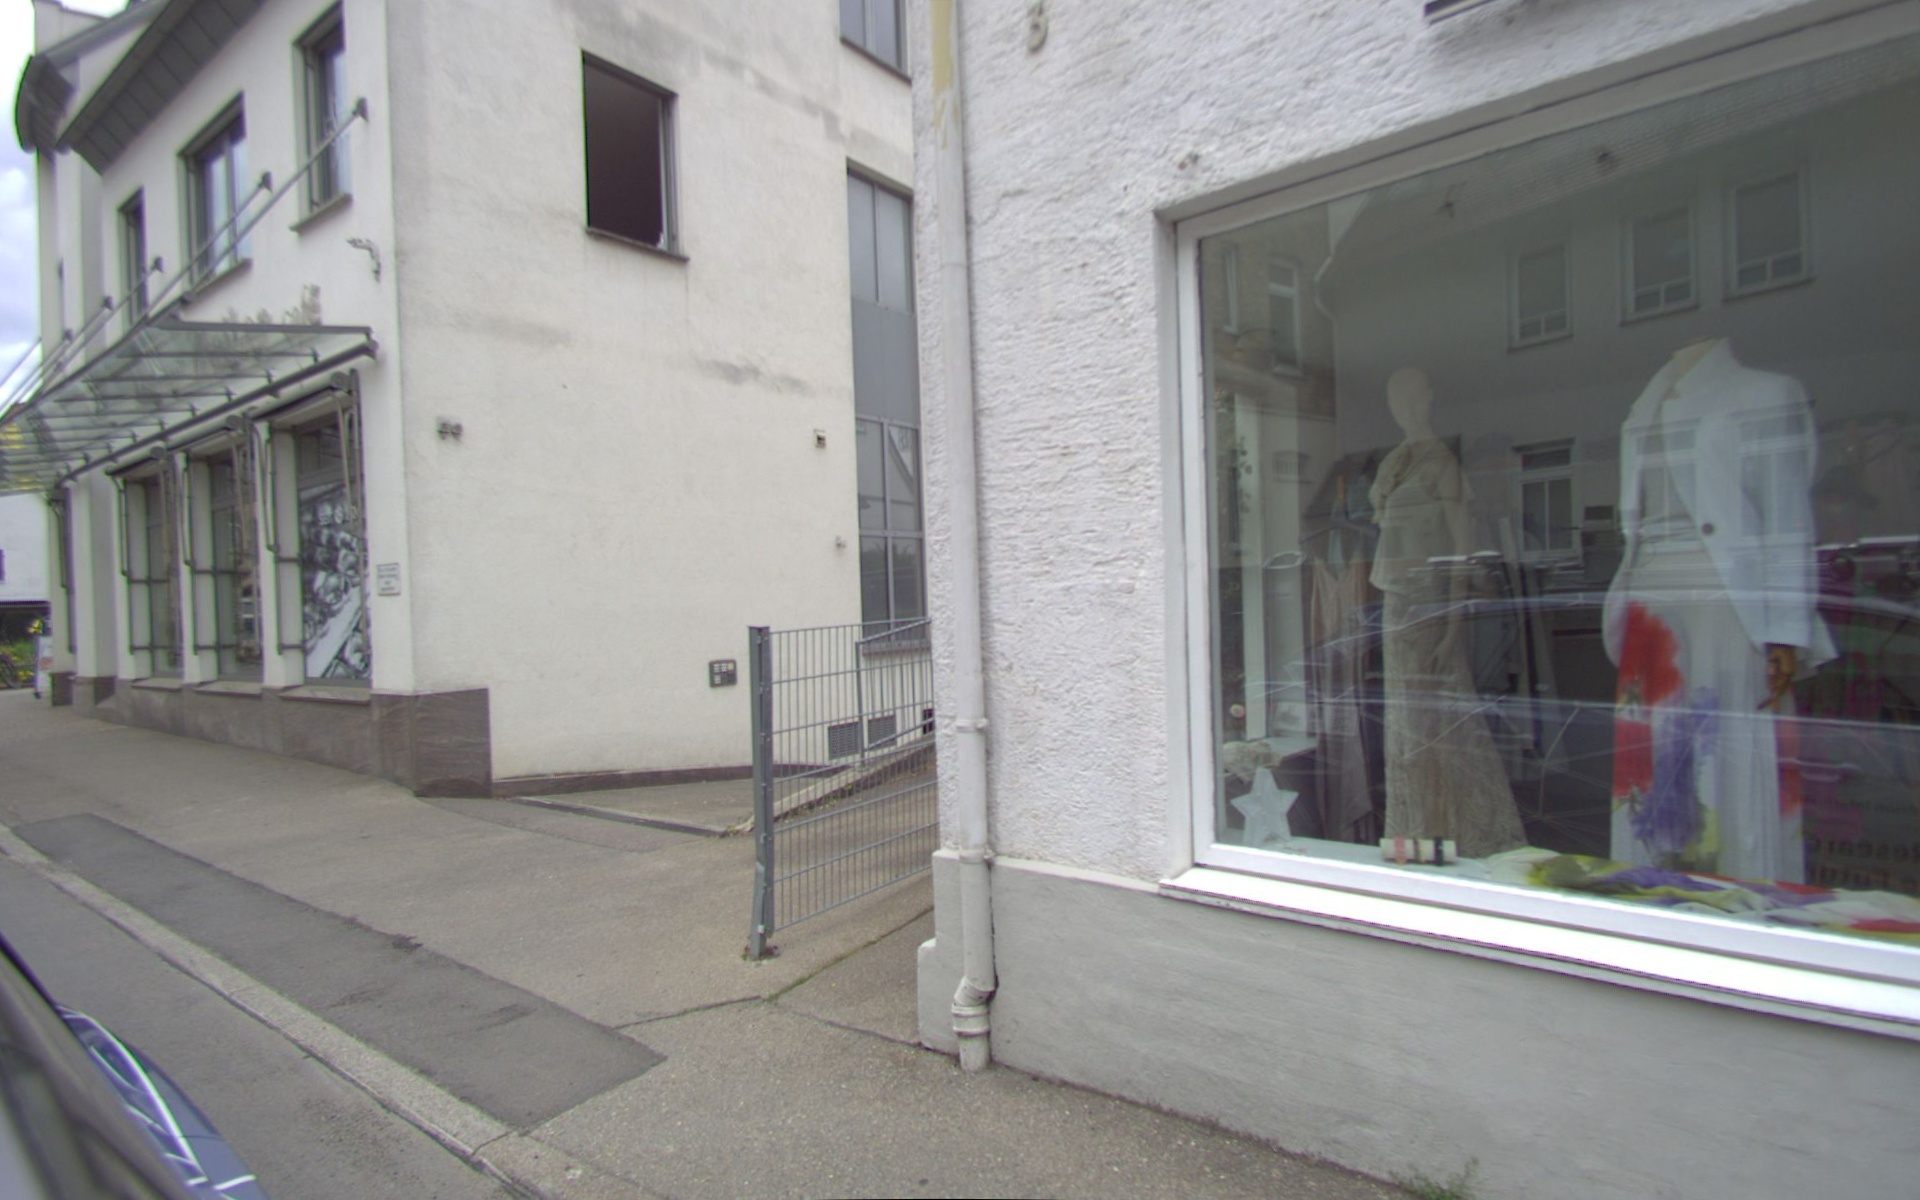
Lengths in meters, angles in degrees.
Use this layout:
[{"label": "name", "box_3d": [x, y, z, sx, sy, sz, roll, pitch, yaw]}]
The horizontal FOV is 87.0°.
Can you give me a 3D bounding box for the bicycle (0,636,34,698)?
[{"label": "bicycle", "box_3d": [-20.310, 1.426, 20.617, 0.738, 1.249, 1.967, -3, 0, 20]}]
